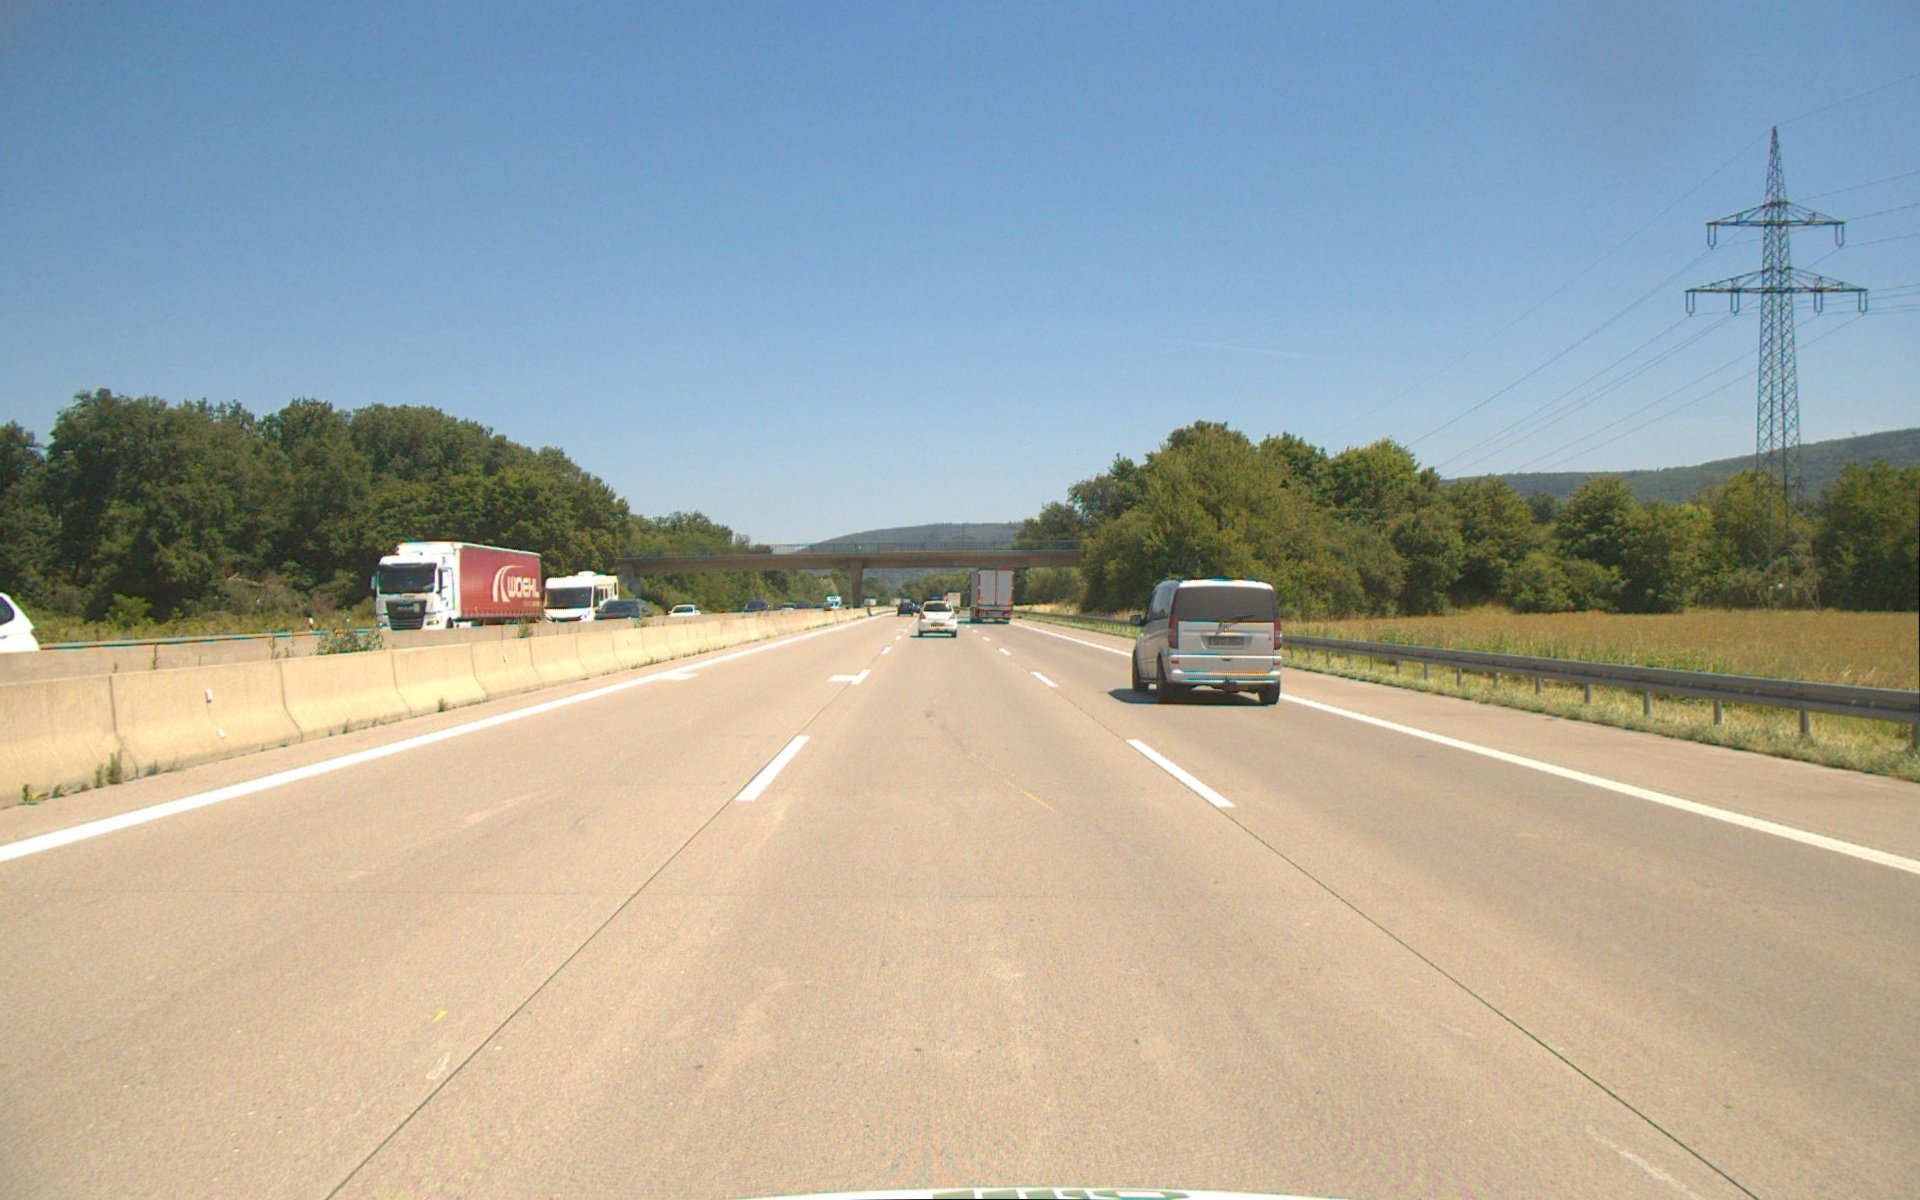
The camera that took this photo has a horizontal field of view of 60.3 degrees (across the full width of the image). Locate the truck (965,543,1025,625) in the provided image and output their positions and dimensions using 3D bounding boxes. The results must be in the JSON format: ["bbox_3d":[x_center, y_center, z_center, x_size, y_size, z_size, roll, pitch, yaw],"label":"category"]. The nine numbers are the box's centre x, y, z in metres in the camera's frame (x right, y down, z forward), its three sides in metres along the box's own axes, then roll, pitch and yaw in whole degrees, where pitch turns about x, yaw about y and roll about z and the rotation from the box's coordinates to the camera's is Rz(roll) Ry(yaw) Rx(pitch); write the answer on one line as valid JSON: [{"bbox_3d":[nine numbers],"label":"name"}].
[{"bbox_3d":[2.510,-1.129,127.722,3.505,5.889,18.237,0,0,-2],"label":"truck"}]

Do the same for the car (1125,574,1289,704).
[{"bbox_3d":[3.958,0.581,27.368,1.841,1.922,5.278,0,0,-1],"label":"car"}]

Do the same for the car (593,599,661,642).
[{"bbox_3d":[-12.847,0.761,63.990,1.757,1.583,4.600,0,0,-1],"label":"car"}]

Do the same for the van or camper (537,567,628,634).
[{"bbox_3d":[-17.361,0.015,76.494,2.474,2.940,7.936,0,0,-1],"label":"van or camper"}]

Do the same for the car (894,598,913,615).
[{"bbox_3d":[-6.108,0.713,178.511,1.982,1.730,3.997,2,-1,-4],"label":"car"}]

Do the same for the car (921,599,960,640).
[{"bbox_3d":[-0.839,0.816,71.269,1.608,1.691,3.359,1,0,-1],"label":"car"}]

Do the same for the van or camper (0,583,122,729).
[{"bbox_3d":[-12.426,0.667,19.466,2.196,1.722,5.849,0,0,-1],"label":"van or camper"}]

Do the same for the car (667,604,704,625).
[{"bbox_3d":[-17.826,0.943,107.440,1.653,1.285,4.790,-1,0,-1],"label":"car"}]

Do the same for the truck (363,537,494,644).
[{"bbox_3d":[-21.143,-0.373,66.255,2.939,4.052,7.293,0,0,-1],"label":"truck"}]

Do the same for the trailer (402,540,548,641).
[{"bbox_3d":[-21.257,-0.409,73.420,2.939,4.052,12.339,0,0,-1],"label":"trailer"}]
